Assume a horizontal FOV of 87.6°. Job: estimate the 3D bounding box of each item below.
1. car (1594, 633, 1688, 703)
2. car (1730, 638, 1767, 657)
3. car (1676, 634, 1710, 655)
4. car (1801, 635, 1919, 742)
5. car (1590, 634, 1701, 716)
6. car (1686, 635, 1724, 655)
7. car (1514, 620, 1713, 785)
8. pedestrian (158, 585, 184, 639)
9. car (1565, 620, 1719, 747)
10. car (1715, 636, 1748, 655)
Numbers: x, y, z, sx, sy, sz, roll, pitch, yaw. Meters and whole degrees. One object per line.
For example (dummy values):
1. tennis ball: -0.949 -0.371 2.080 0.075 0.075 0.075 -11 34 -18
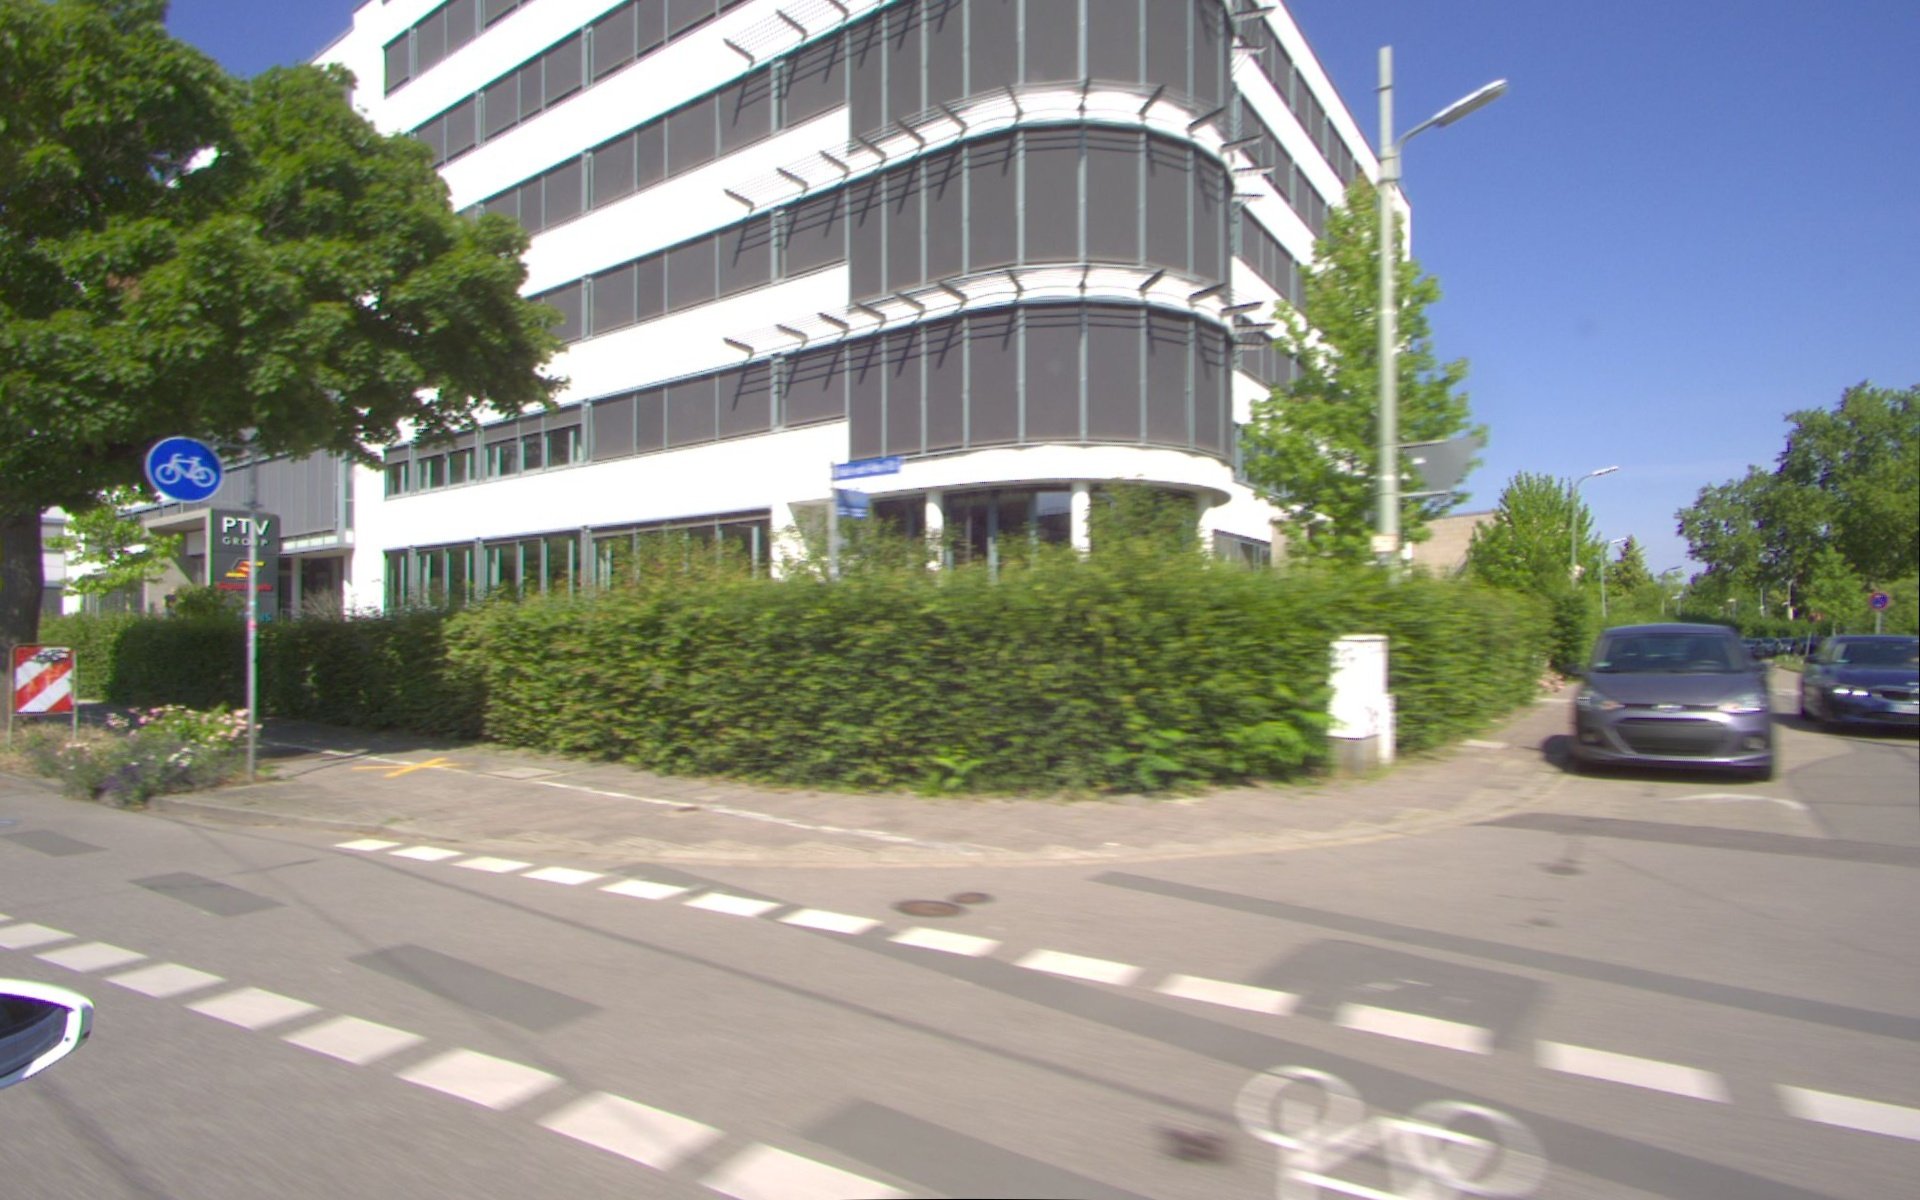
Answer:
1. car: 15.620 1.499 22.885 1.636 1.444 3.975 -1 -2 36
2. car: 63.321 3.781 80.417 3.957 1.444 1.644 2 -2 -41
3. car: 51.631 3.097 70.496 1.639 1.444 3.969 -1 -2 41
4. car: 13.674 1.227 14.797 1.650 1.405 3.734 -1 -2 36
5. car: 13.068 1.365 19.060 1.636 1.429 2.897 -1 -2 36
6. car: 55.095 3.336 74.023 3.962 1.444 1.642 2 -2 -44
7. car: 7.209 0.997 10.956 1.571 1.491 3.583 -1 -2 36
8. pedestrian: -25.663 0.398 32.559 0.539 1.750 0.497 -1 -2 35
9. car: 9.923 1.113 14.522 1.636 1.567 3.975 -1 -2 36
10. car: 59.495 3.498 77.213 1.640 1.444 3.966 -1 -2 43
